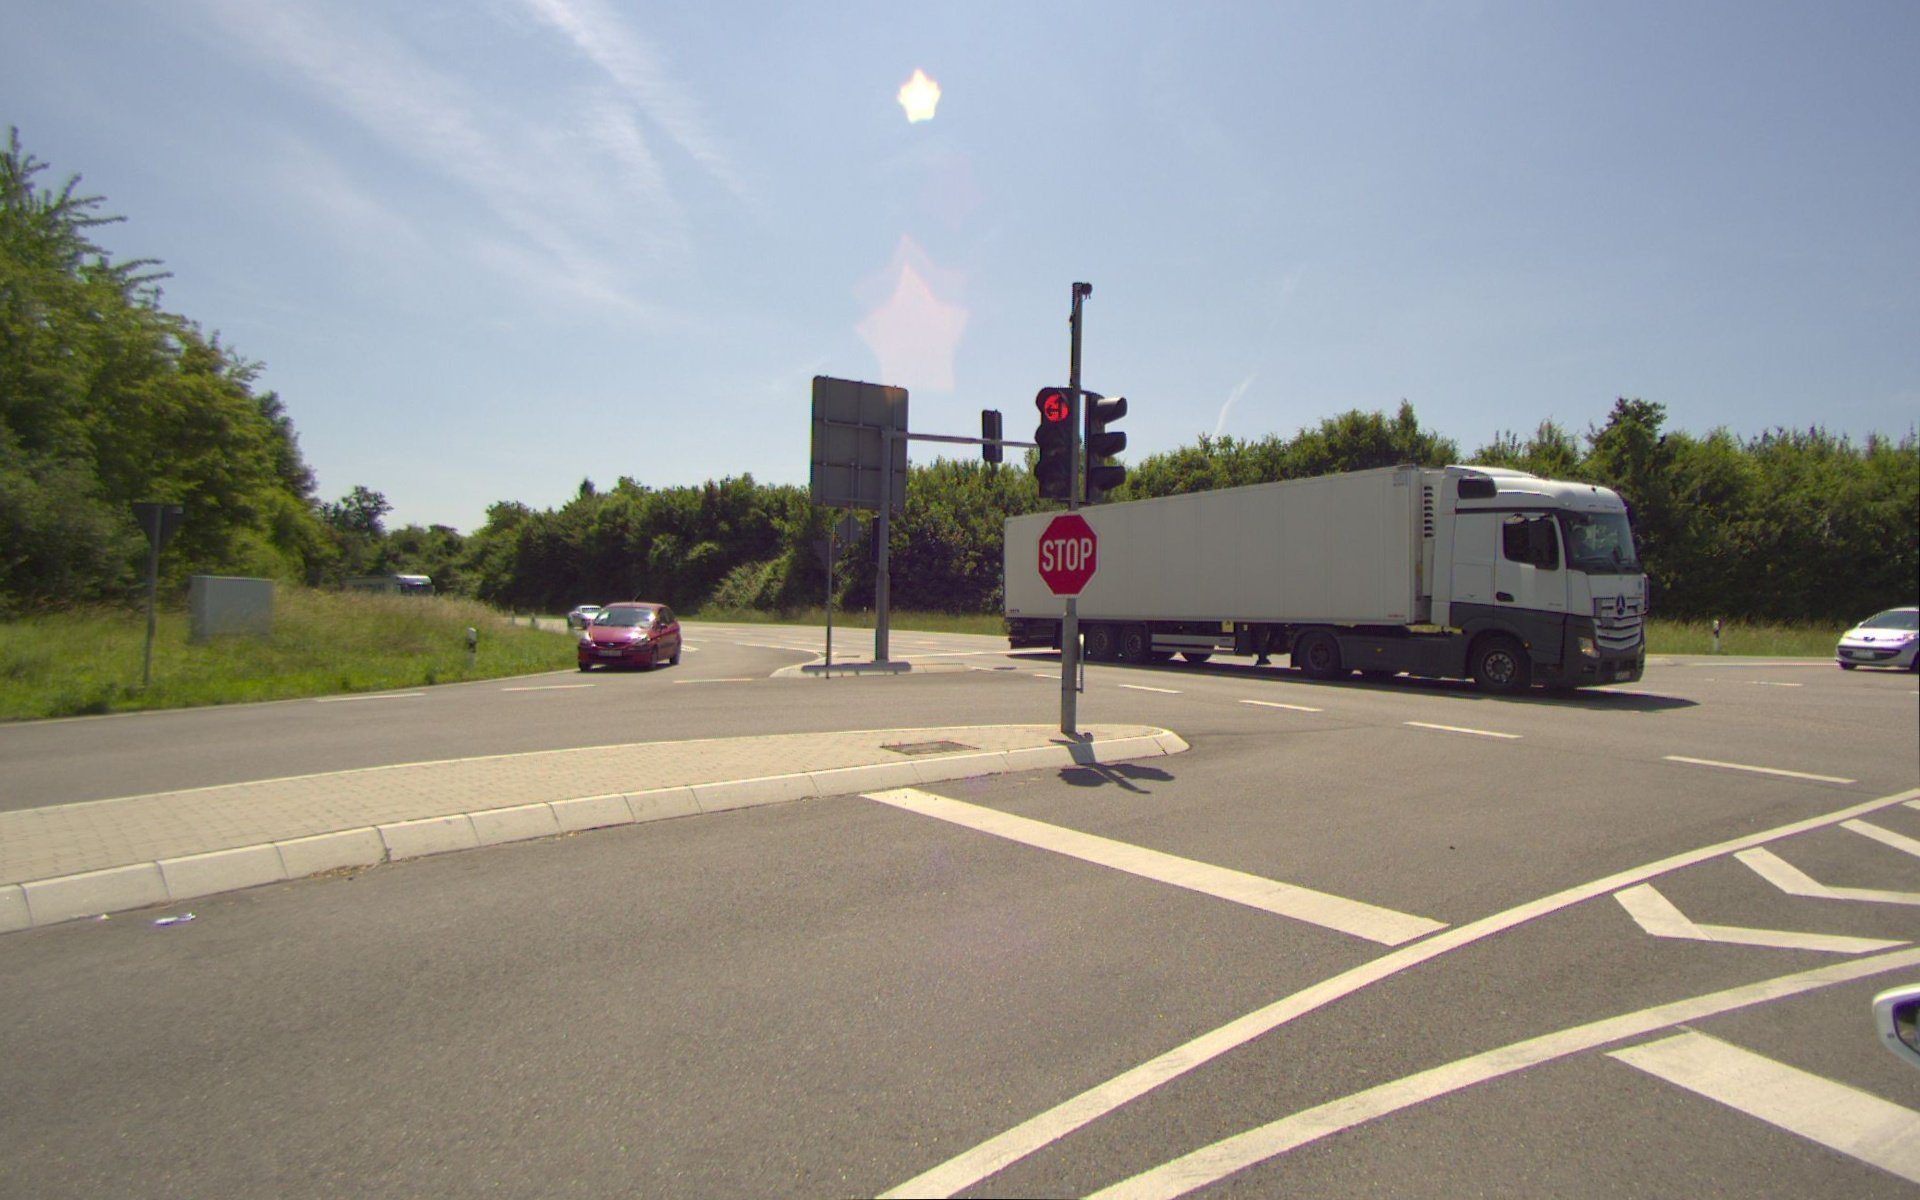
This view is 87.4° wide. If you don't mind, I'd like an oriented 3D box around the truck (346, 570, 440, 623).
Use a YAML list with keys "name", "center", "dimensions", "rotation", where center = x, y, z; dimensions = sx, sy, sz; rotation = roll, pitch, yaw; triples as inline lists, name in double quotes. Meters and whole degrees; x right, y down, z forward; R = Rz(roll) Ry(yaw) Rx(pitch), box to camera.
- name: "truck"
  center: [-52.297, -0.239, 92.294]
  dimensions: [16.230, 4.506, 3.125]
  rotation: [-1, 0, 44]

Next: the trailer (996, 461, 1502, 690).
- name: "trailer"
  center: [5.773, -0.442, 24.542]
  dimensions: [2.631, 4.090, 13.717]
  rotation: [0, 0, -32]

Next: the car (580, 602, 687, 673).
- name: "car"
  center: [-7.637, 0.824, 23.822]
  dimensions: [1.520, 1.519, 3.830]
  rotation: [1, 0, -5]

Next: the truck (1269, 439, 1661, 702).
- name: "truck"
  center: [9.176, -0.464, 19.029]
  dimensions: [2.631, 4.090, 6.227]
  rotation: [0, 0, -32]

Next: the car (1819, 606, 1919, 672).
- name: "car"
  center: [21.748, 0.852, 22.916]
  dimensions: [3.470, 1.389, 1.566]
  rotation: [0, 0, -14]

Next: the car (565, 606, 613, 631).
- name: "car"
  center: [-20.615, 1.013, 55.769]
  dimensions: [1.430, 1.301, 3.791]
  rotation: [0, 0, -38]
